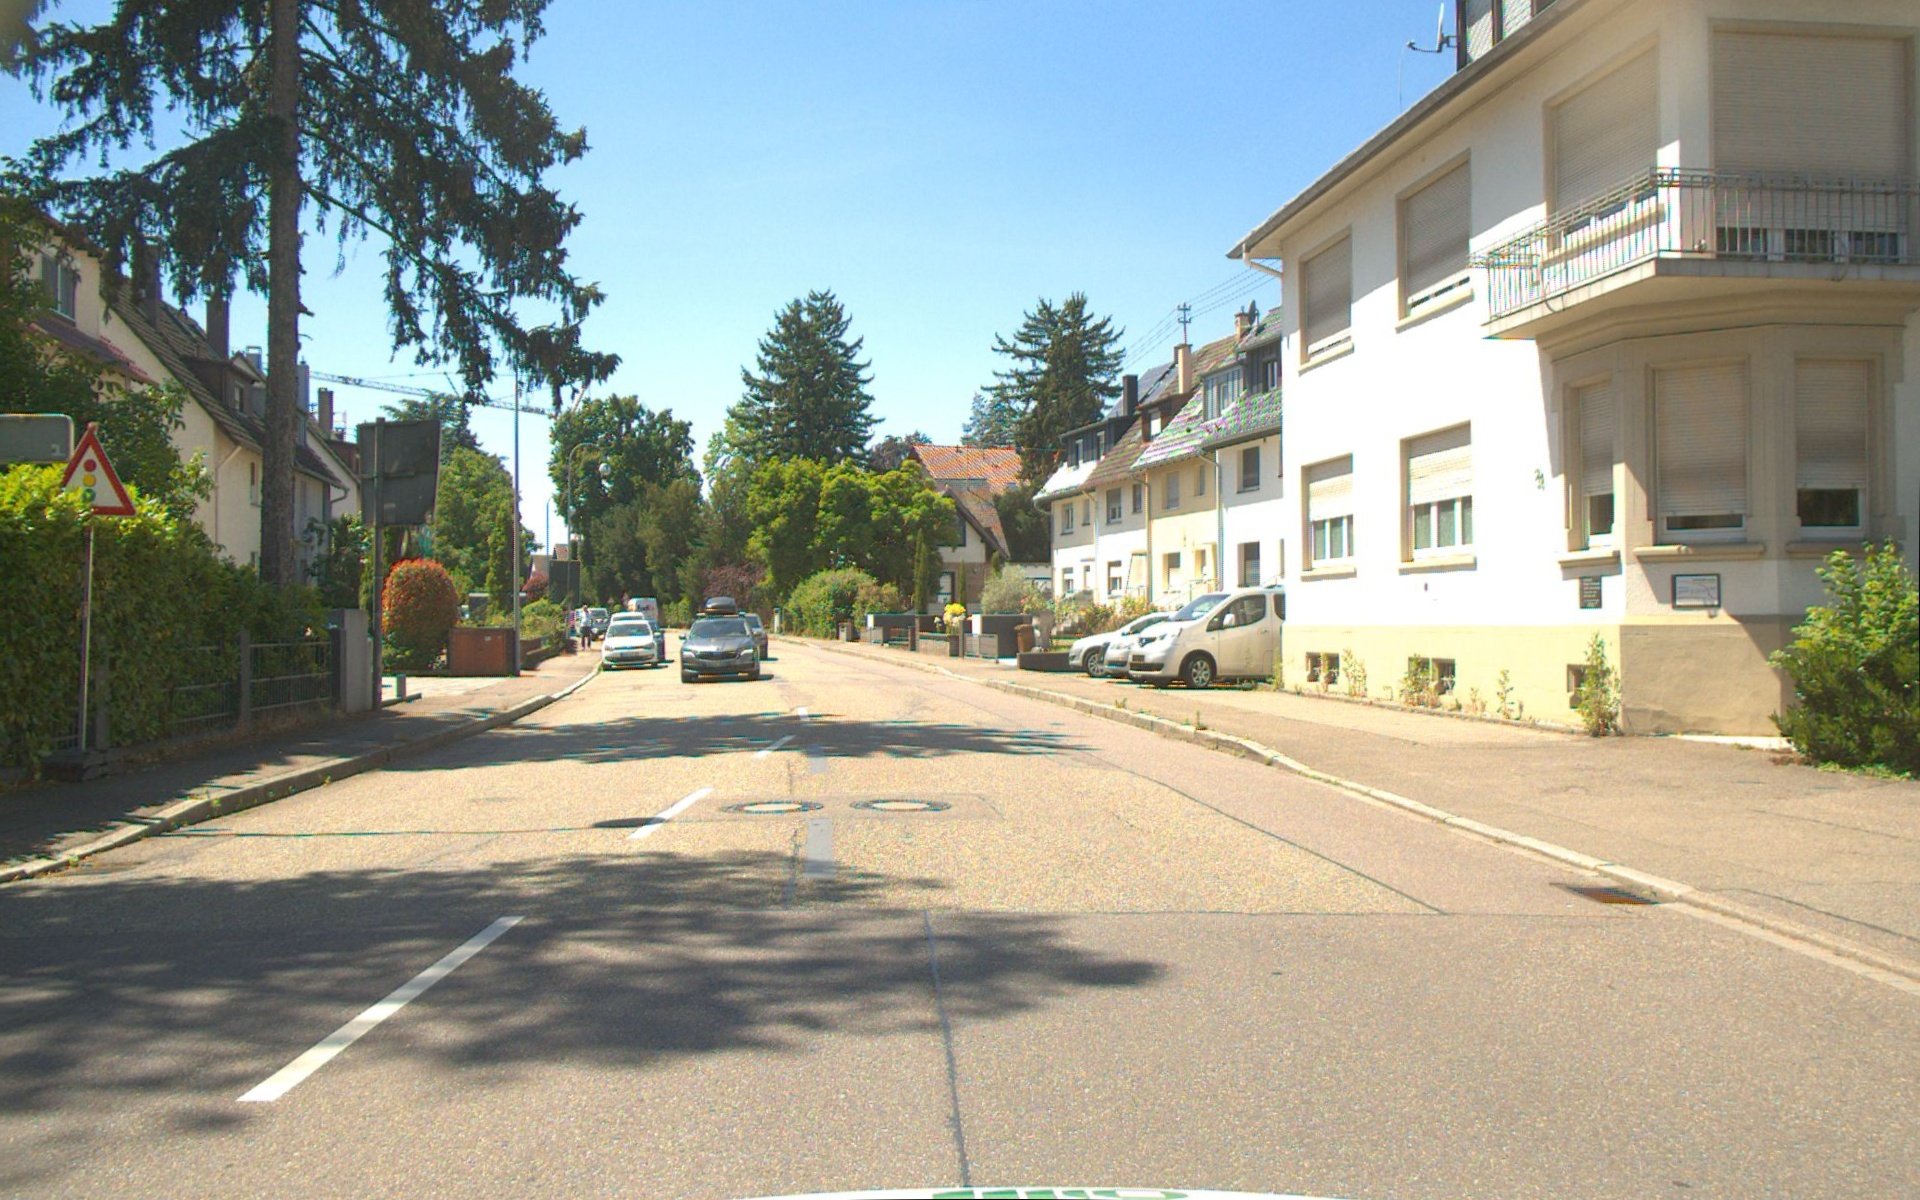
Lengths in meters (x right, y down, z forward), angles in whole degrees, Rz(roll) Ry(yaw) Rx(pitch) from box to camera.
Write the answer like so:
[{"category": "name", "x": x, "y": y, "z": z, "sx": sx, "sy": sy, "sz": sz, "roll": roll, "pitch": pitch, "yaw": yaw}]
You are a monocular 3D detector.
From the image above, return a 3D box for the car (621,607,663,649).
[{"category": "car", "x": -14.608, "y": 1.253, "z": 75.885, "sx": 1.693, "sy": 1.766, "sz": 3.874, "roll": -3, "pitch": 0, "yaw": -13}]

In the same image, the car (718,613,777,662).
[{"category": "car", "x": -7.223, "y": 1.262, "z": 56.553, "sx": 1.706, "sy": 1.531, "sz": 4.139, "roll": -3, "pitch": 0, "yaw": -4}]

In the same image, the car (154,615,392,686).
[{"category": "car", "x": -14.747, "y": 1.074, "z": 35.705, "sx": 4.382, "sy": 1.466, "sz": 1.845, "roll": 0, "pitch": -1, "yaw": -6}]

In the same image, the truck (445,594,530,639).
[{"category": "truck", "x": -21.855, "y": 0.748, "z": 76.602, "sx": 3.704, "sy": 1.971, "sz": 1.541, "roll": -1, "pitch": 0, "yaw": -14}]

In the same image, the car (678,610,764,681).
[{"category": "car", "x": -5.593, "y": 1.026, "z": 39.074, "sx": 1.771, "sy": 1.514, "sz": 4.381, "roll": -2, "pitch": 0, "yaw": -6}]

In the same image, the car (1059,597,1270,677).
[{"category": "car", "x": 4.434, "y": 0.801, "z": 35.837, "sx": 4.204, "sy": 1.575, "sz": 1.755, "roll": 1, "pitch": -2, "yaw": 23}]

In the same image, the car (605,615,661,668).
[{"category": "car", "x": -10.018, "y": 1.255, "z": 50.887, "sx": 1.550, "sy": 1.448, "sz": 3.931, "roll": -3, "pitch": 0, "yaw": -10}]

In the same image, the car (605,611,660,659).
[{"category": "car", "x": -11.251, "y": 1.173, "z": 57.059, "sx": 1.737, "sy": 1.464, "sz": 4.351, "roll": -3, "pitch": 0, "yaw": -10}]

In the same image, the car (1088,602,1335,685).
[{"category": "car", "x": 4.977, "y": 0.854, "z": 33.003, "sx": 4.552, "sy": 1.433, "sz": 1.766, "roll": 2, "pitch": -1, "yaw": -8}]

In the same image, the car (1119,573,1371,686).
[{"category": "car", "x": 5.232, "y": 0.550, "z": 30.419, "sx": 4.222, "sy": 1.863, "sz": 1.731, "roll": 3, "pitch": -1, "yaw": -17}]

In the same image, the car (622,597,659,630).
[{"category": "car", "x": -24.626, "y": 1.023, "z": 127.269, "sx": 2.111, "sy": 2.356, "sz": 4.827, "roll": -2, "pitch": 0, "yaw": -18}]
